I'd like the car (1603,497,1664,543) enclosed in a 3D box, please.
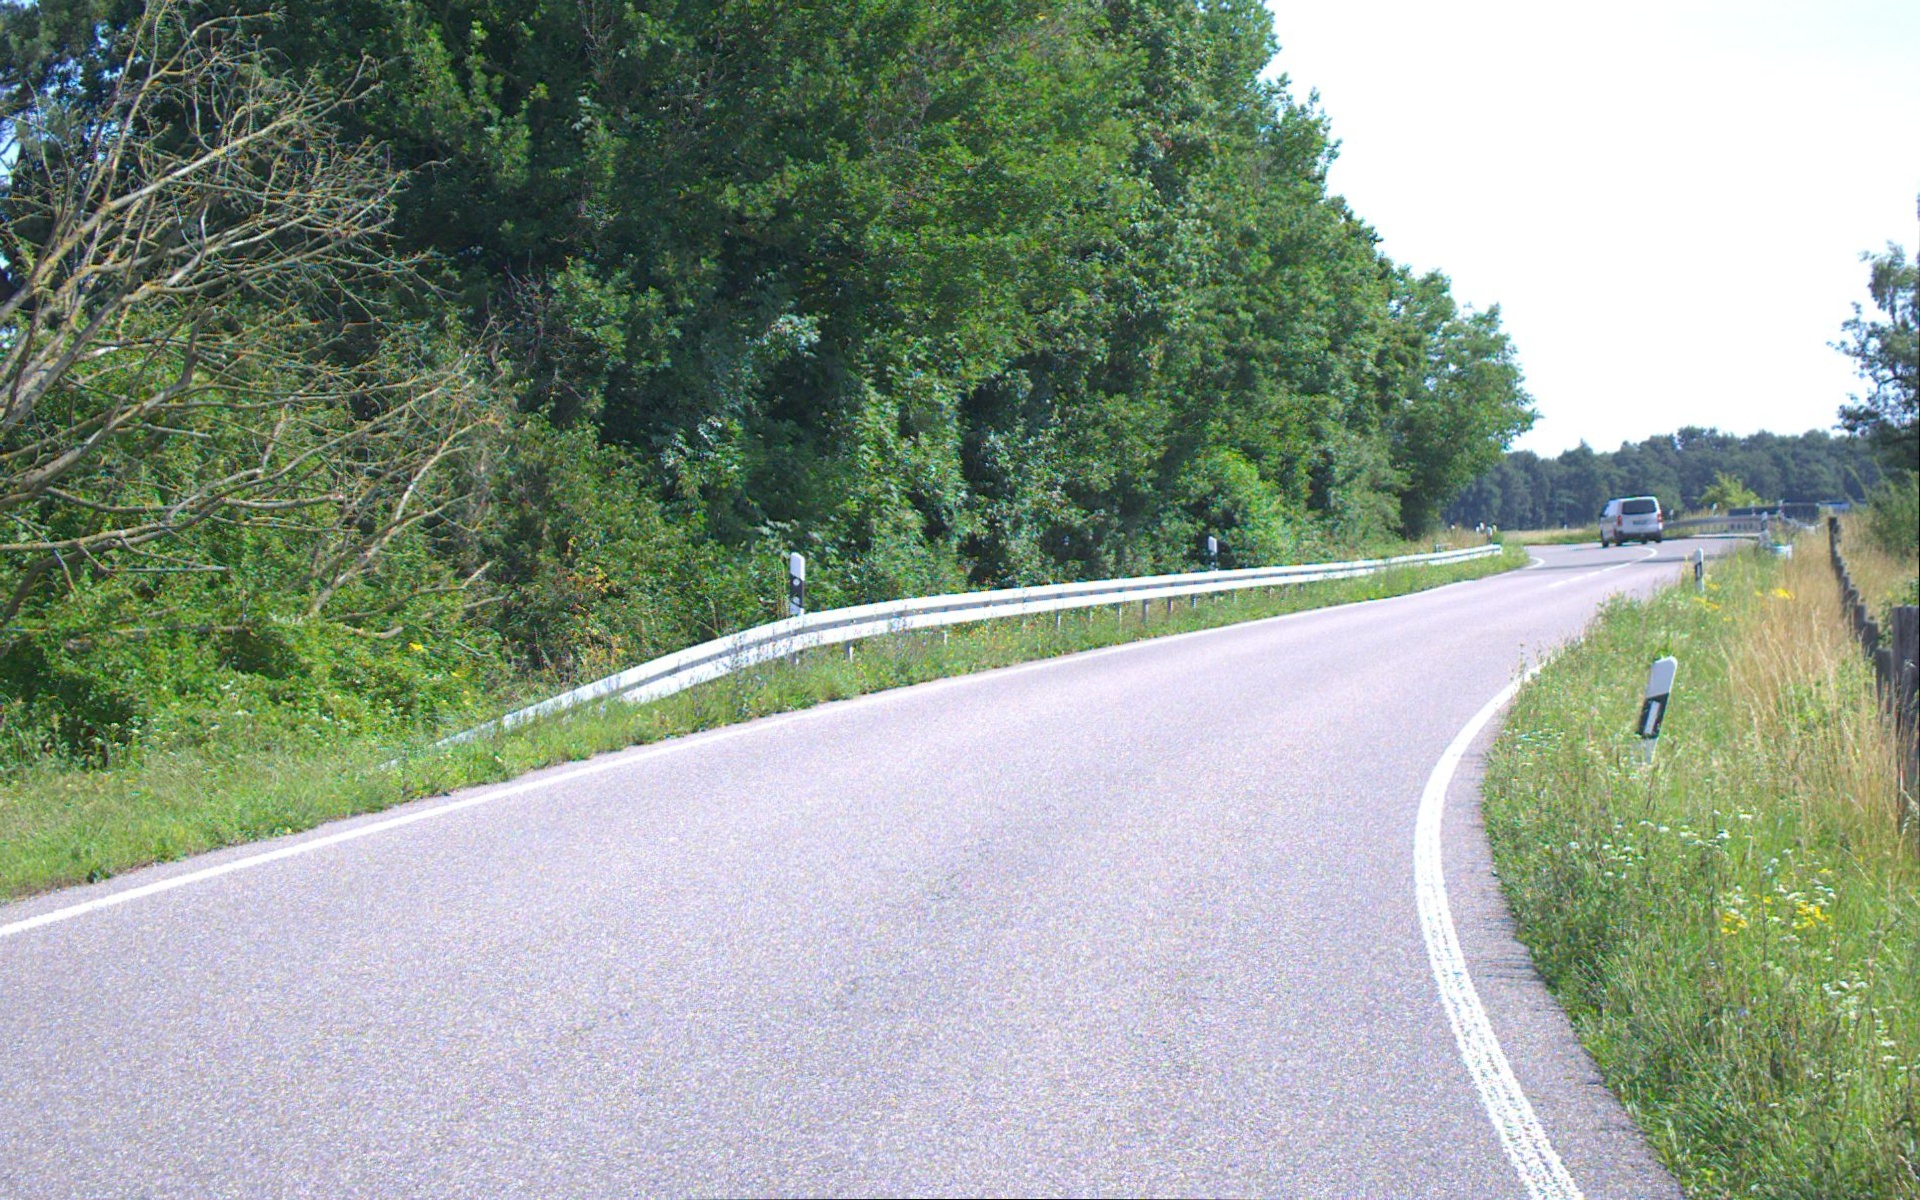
[{"bbox_3d":[27.631,-3.273,141.167,1.962,1.796,4.160,0,0,4],"label":"car"}]
